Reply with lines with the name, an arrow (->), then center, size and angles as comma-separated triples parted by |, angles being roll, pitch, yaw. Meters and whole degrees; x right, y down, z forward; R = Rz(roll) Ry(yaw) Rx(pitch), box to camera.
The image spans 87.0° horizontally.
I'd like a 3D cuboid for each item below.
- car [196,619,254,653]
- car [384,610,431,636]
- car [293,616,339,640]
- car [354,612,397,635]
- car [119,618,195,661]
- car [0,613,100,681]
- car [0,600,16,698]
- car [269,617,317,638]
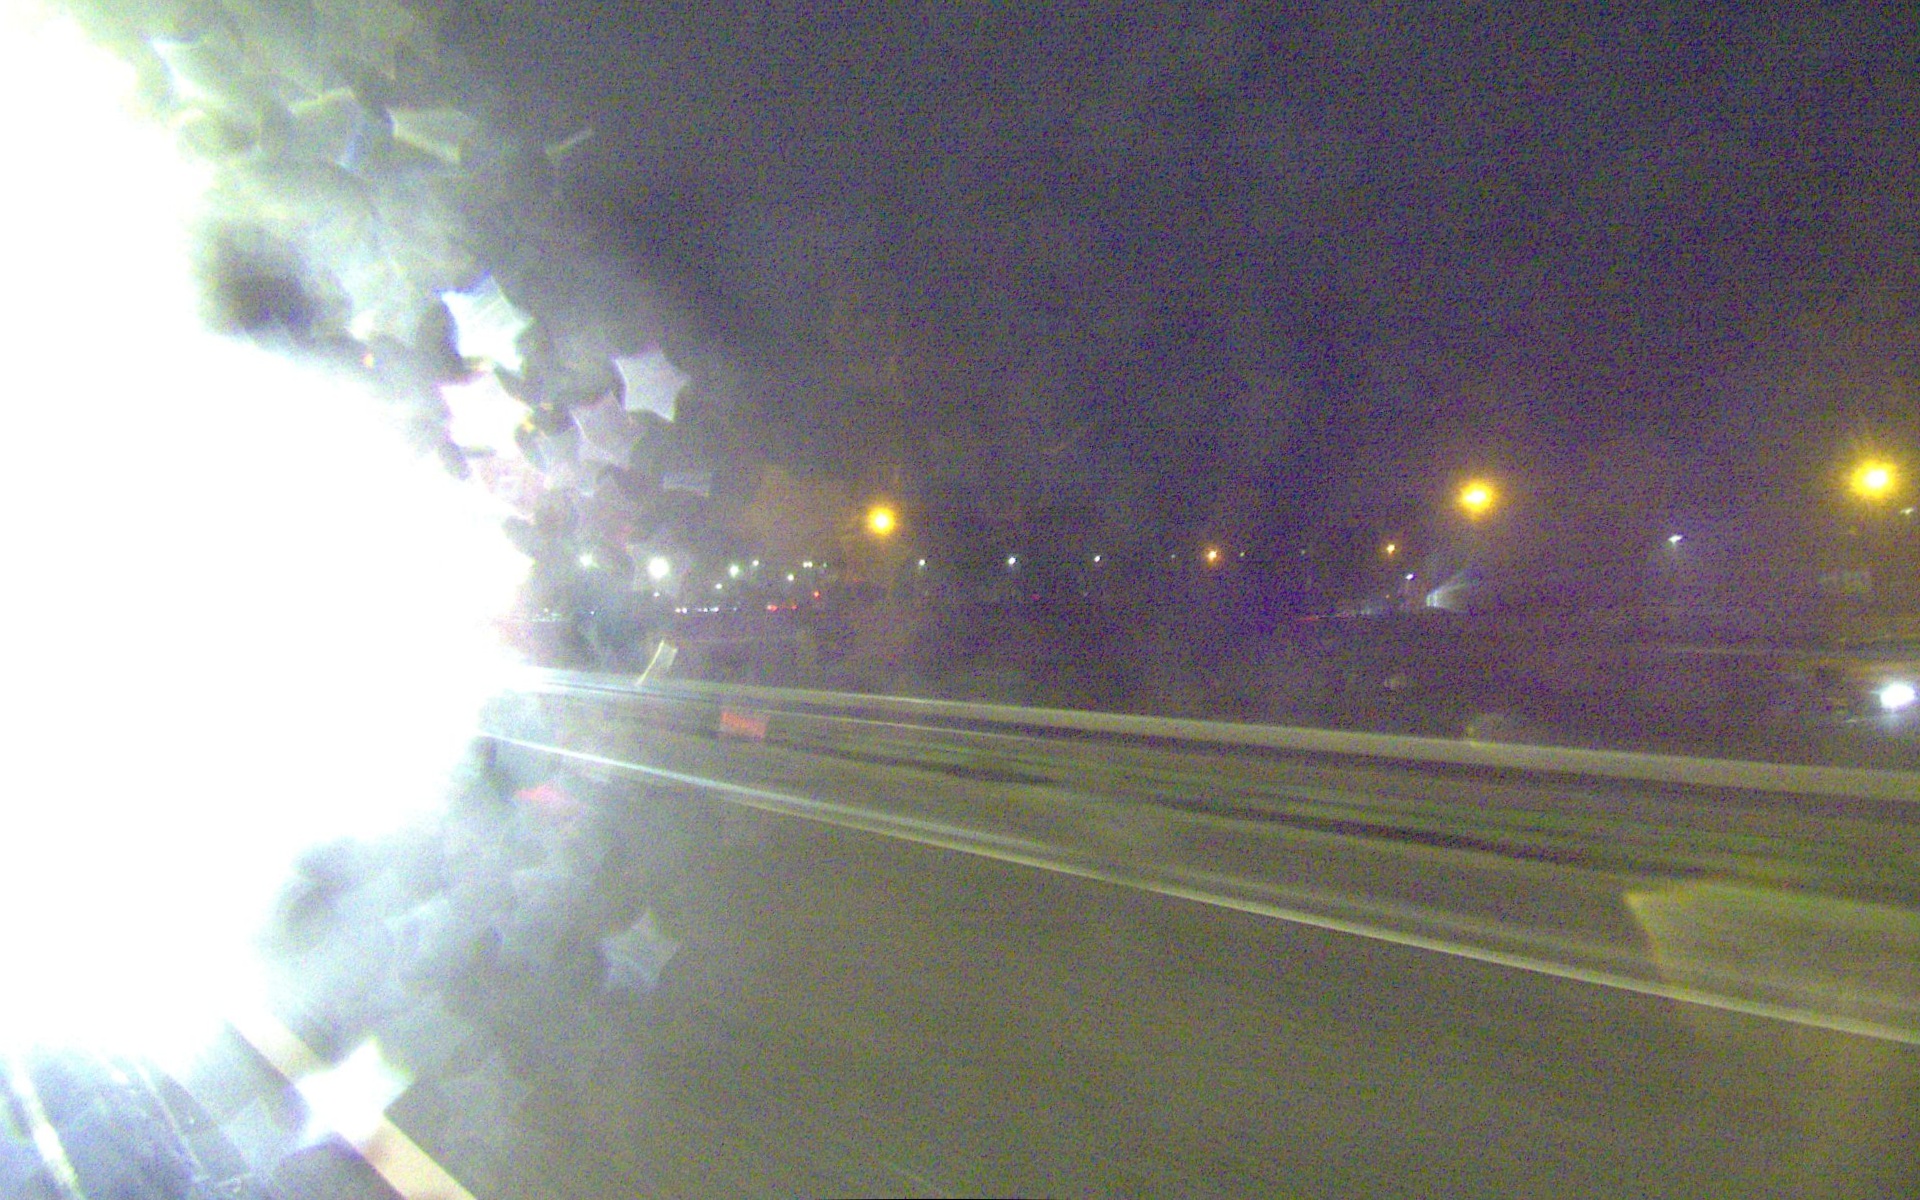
car -> -44.611, 2.166, 61.508 | 1.965, 1.949, 4.013 | -1, -1, -23
car -> -47.813, 1.972, 87.662 | 2.342, 2.107, 4.427 | -1, -1, -12
car -> -43.525, 1.871, 68.457 | 1.965, 1.495, 4.013 | -1, -1, -22
car -> -50.380, 2.026, 87.264 | 1.967, 1.949, 4.009 | -1, -1, -11
car -> -38.787, 1.897, 48.986 | 1.965, 1.949, 4.013 | -1, -1, -25
car -> -28.766, 1.441, 31.966 | 1.967, 1.949, 4.010 | -1, -1, -34
car -> -19.488, 0.952, 19.226 | 1.907, 1.887, 4.008 | -1, -1, -38
car -> -48.836, 1.989, 74.150 | 1.966, 1.495, 4.012 | -1, -1, -18
